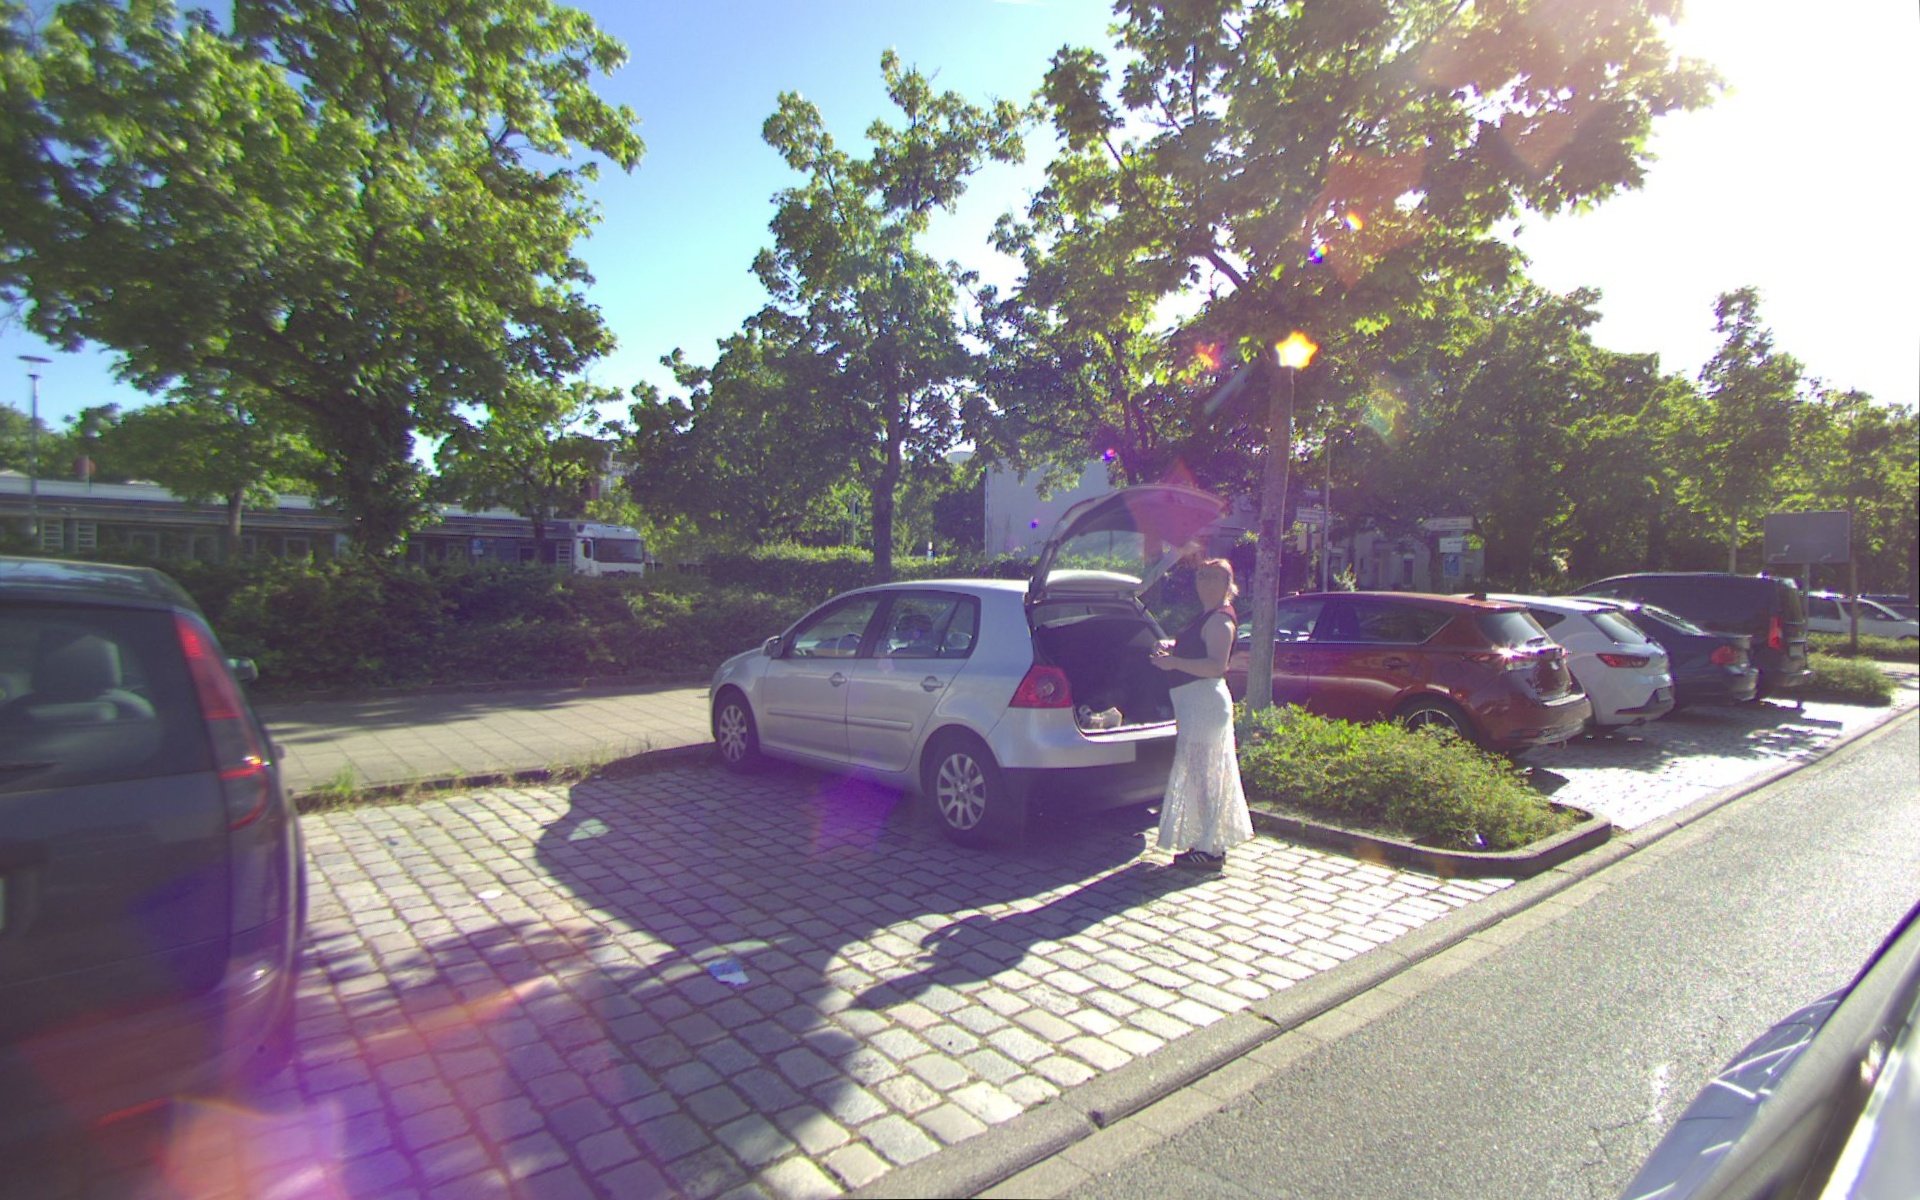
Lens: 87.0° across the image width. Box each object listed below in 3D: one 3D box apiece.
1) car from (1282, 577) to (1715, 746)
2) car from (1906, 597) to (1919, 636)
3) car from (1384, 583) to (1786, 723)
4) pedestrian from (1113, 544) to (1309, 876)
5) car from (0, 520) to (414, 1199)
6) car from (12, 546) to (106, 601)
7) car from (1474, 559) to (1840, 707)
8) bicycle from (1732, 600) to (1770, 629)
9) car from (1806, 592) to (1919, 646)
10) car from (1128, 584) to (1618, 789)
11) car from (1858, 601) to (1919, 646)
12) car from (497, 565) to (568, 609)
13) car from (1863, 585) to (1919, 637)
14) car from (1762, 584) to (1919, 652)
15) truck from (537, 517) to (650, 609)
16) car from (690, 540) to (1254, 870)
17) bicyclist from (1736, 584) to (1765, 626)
[{"bbox_3d":[5.875,0.539,11.396,1.777,1.454,3.906,1,2,-41],"label":"car"},{"bbox_3d":[38.511,0.695,38.313,1.738,1.492,3.782,0,3,-41],"label":"car"},{"bbox_3d":[8.073,0.559,13.389,1.797,1.423,4.162,0,3,-41],"label":"car"},{"bbox_3d":[1.337,0.527,5.391,0.764,1.599,0.663,1,-1,44],"label":"pedestrian"},{"bbox_3d":[-3.285,0.552,3.345,1.706,1.538,4.193,0,2,-41],"label":"car"},{"bbox_3d":[-30.658,-0.896,34.551,1.865,1.705,4.227,2,0,-35],"label":"car"},{"bbox_3d":[10.326,0.355,15.264,1.846,1.869,4.164,0,2,-40],"label":"car"},{"bbox_3d":[29.387,0.542,37.591,2.050,1.008,0.596,2,0,-38],"label":"bicycle"},{"bbox_3d":[27.666,0.568,29.660,1.797,1.423,4.162,0,3,-41],"label":"car"},{"bbox_3d":[3.613,0.601,9.407,1.644,1.444,3.906,-1,2,-41],"label":"car"},{"bbox_3d":[32.926,0.845,33.824,1.797,1.423,4.162,0,3,-41],"label":"car"},{"bbox_3d":[-17.909,-0.563,42.283,1.865,1.705,4.227,2,0,-35],"label":"car"},{"bbox_3d":[34.813,0.444,35.368,1.797,1.794,4.658,0,3,-41],"label":"car"},{"bbox_3d":[24.061,0.451,26.789,1.797,1.617,4.162,0,2,-41],"label":"car"},{"bbox_3d":[-16.780,-1.626,46.090,2.760,3.855,6.920,2,0,-38],"label":"truck"},{"bbox_3d":[-0.171,0.475,6.918,1.650,1.598,3.906,2,0,-41],"label":"car"},{"bbox_3d":[29.350,0.195,37.558,0.996,1.543,0.596,2,0,-38],"label":"bicyclist"}]
